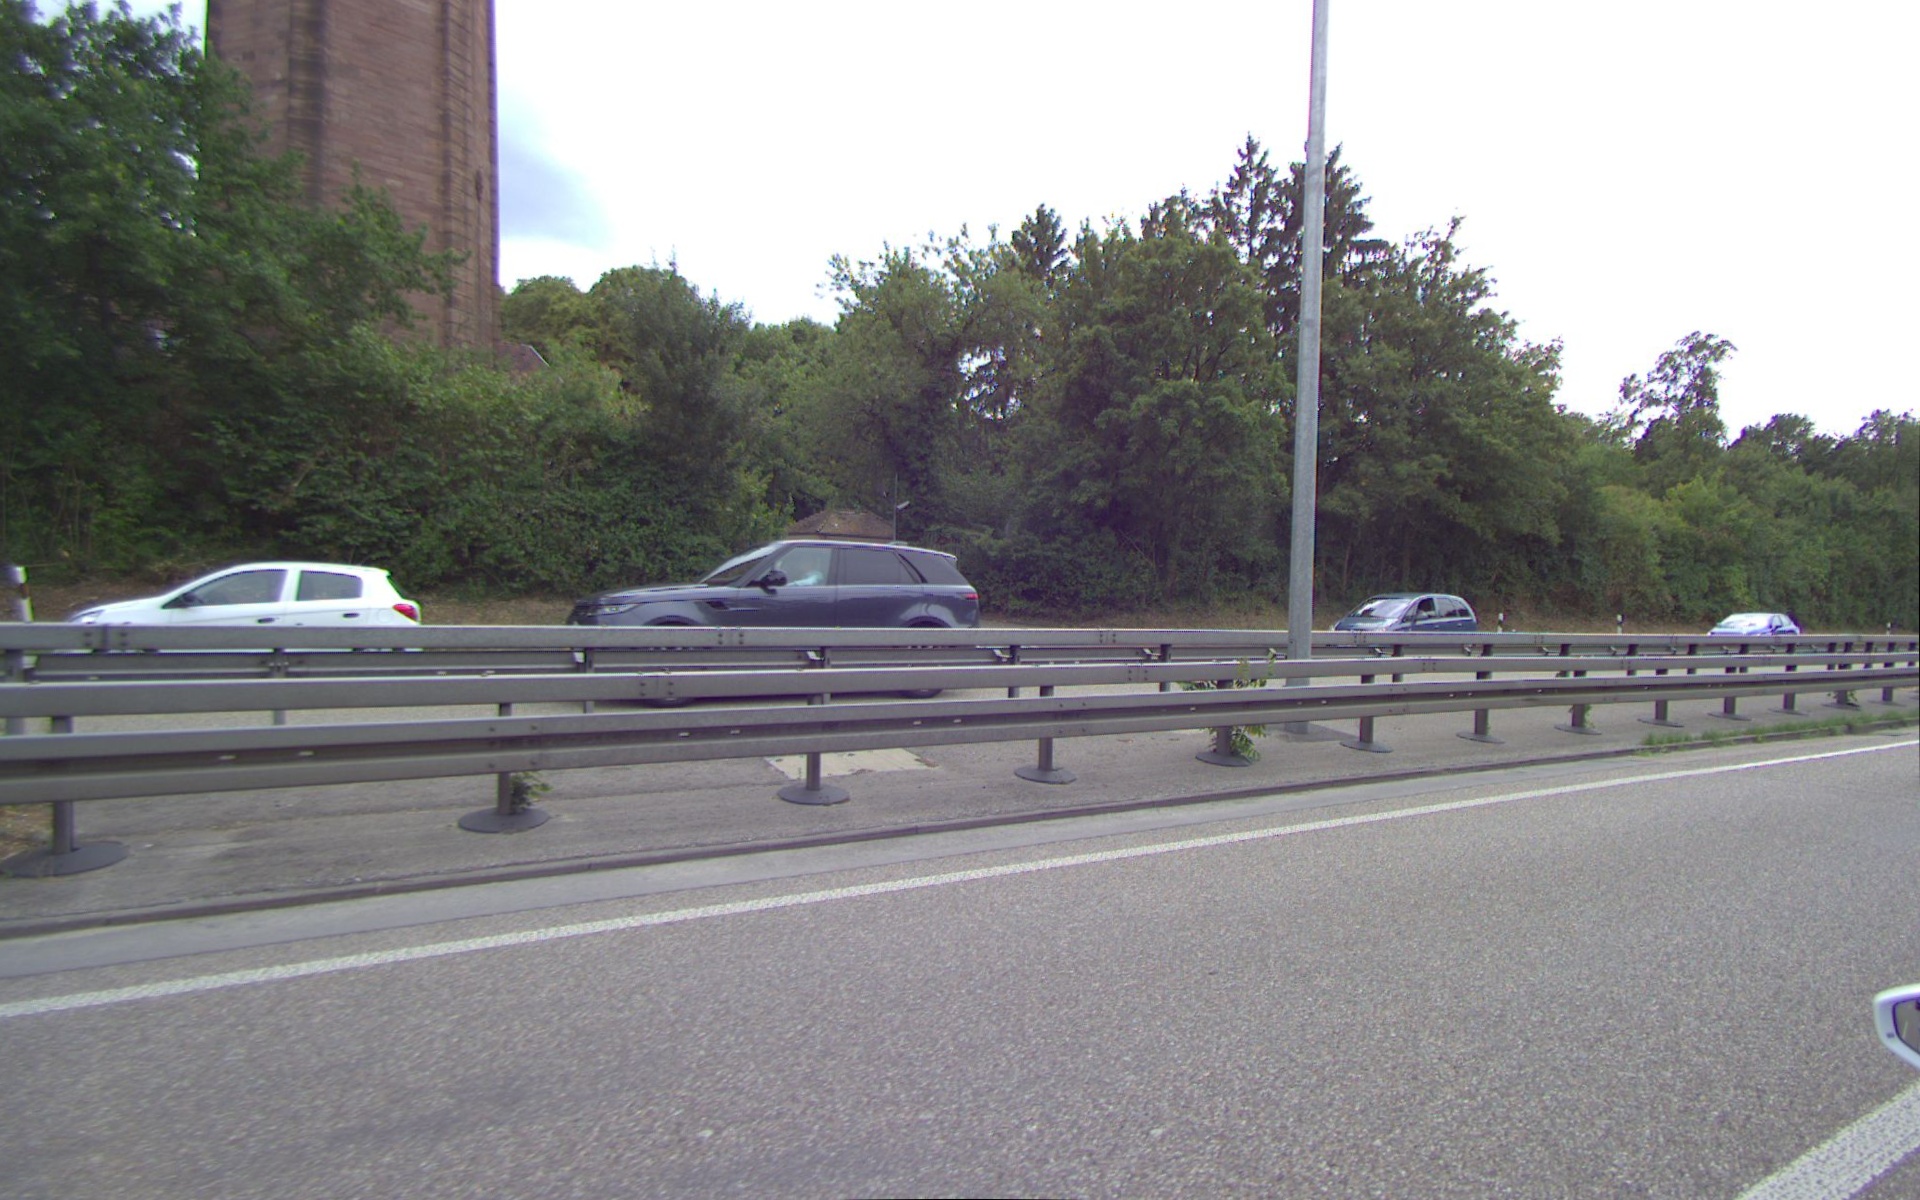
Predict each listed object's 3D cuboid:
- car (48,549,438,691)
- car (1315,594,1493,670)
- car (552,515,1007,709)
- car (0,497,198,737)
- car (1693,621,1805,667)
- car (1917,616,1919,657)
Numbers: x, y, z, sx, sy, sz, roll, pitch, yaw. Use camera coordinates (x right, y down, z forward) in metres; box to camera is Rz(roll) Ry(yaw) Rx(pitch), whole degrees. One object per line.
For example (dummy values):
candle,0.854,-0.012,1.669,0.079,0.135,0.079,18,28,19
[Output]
car,-8.579,0.264,12.419,3.684,1.528,1.621,2,-1,-30
car,10.215,0.730,23.051,4.085,1.623,1.722,2,-1,-32
car,-1.982,0.178,11.714,4.901,1.860,1.782,2,-1,-32
car,-8.736,0.092,7.591,4.488,1.793,1.753,2,-1,-30
car,27.299,1.504,34.727,4.012,1.469,1.802,2,-1,-32
car,36.185,1.361,36.045,4.012,1.446,1.702,2,-1,-32
